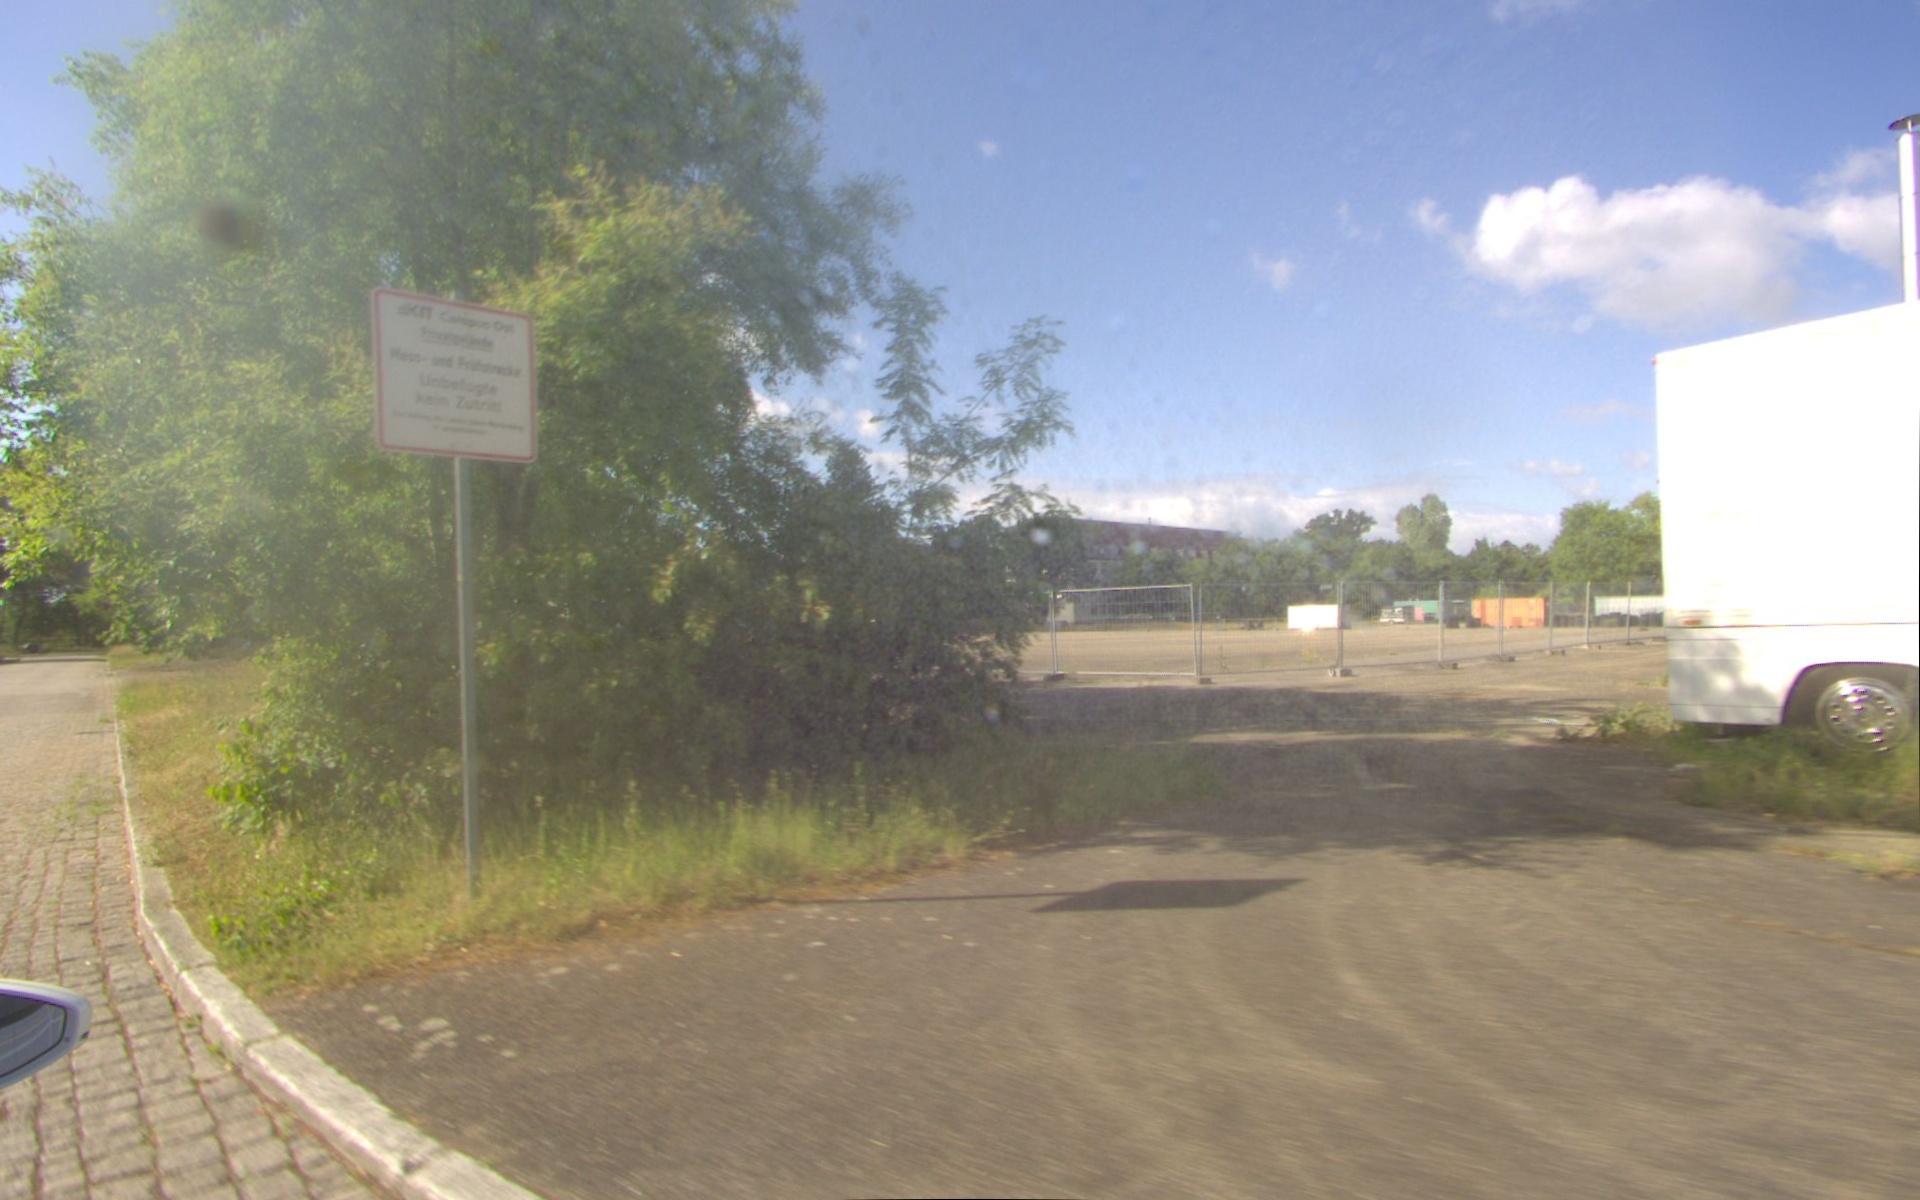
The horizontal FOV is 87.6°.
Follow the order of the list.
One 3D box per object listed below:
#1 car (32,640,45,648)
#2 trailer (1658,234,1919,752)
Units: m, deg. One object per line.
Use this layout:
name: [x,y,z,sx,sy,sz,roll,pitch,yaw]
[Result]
car: [-134.098,6.407,145.661,1.360,1.113,2.836,0,-2,-43]
trailer: [10.701,-0.918,5.613,2.749,3.961,10.803,0,-2,-38]
